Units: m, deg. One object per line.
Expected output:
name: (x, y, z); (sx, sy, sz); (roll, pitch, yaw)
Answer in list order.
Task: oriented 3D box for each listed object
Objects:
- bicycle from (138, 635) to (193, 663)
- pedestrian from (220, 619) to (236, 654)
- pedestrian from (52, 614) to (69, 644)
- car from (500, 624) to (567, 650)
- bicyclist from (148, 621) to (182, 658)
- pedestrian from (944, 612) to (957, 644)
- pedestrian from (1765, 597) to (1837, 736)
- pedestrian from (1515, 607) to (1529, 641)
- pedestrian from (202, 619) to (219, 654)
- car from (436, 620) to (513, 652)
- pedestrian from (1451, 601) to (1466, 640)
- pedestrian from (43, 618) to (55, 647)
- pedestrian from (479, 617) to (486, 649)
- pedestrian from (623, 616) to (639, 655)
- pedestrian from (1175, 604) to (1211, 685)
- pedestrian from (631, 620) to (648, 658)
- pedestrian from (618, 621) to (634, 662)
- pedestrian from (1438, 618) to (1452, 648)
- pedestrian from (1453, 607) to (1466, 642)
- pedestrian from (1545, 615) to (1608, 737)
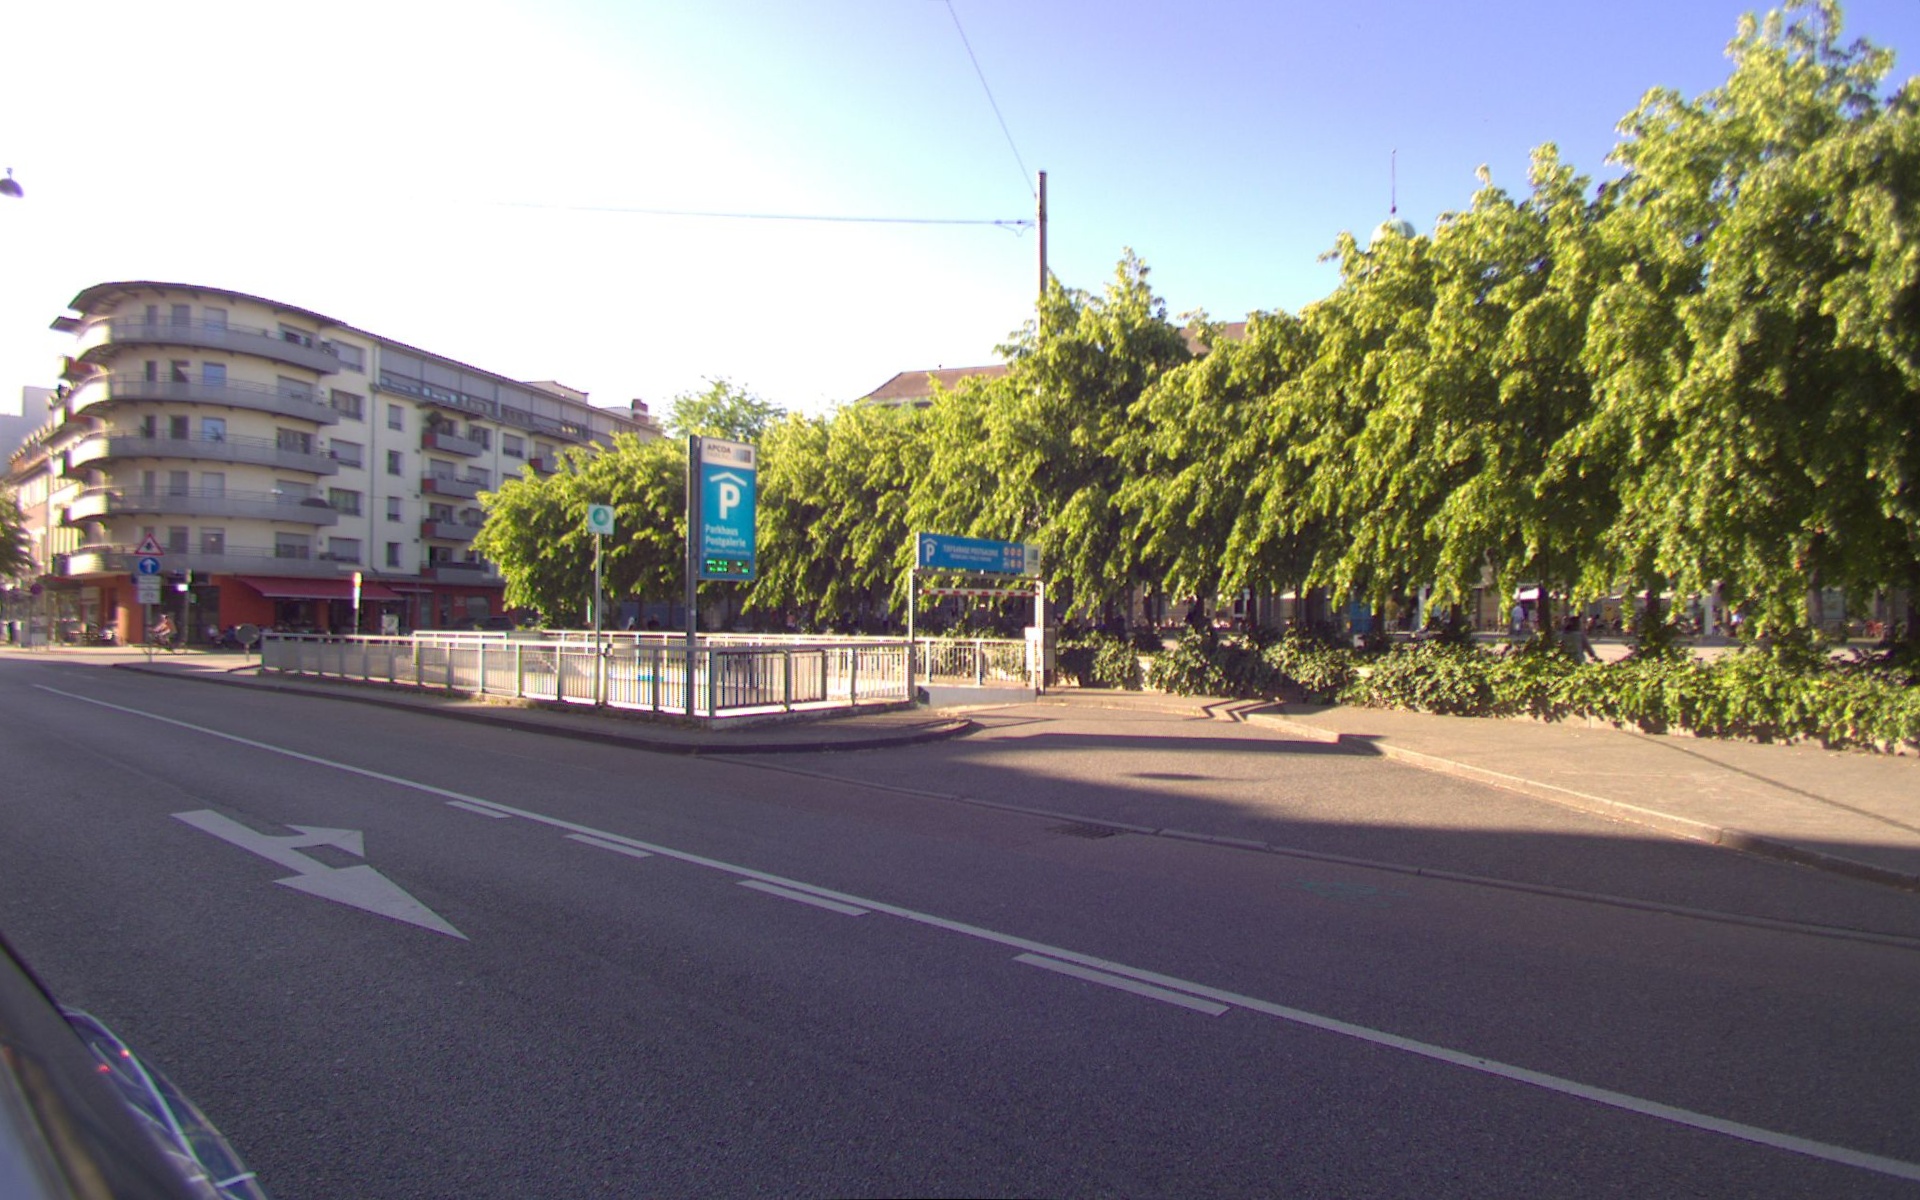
bicycle: (-35.970, 2.201, 45.845); (1.843, 1.221, 0.715); (0, 0, -10)
pedestrian: (-36.821, 1.819, 50.908); (0.642, 1.721, 0.568); (-2, -2, 43)
pedestrian: (-49.148, 1.575, 55.285); (0.792, 1.634, 0.563); (-1, -1, 37)
car: (-28.884, 2.488, 68.619); (1.938, 1.633, 4.272); (-1, -1, 16)
bicyclist: (-36.001, 1.789, 45.842); (0.960, 1.627, 0.715); (0, 0, -10)
pedestrian: (-0.534, 1.604, 57.609); (0.578, 1.806, 0.597); (-1, 0, 20)
pedestrian: (11.691, 0.902, 14.082); (0.597, 1.870, 0.578); (-1, 0, 22)
pedestrian: (29.796, 1.259, 53.690); (0.598, 1.806, 0.577); (-1, -1, 27)
pedestrian: (-37.490, 1.826, 50.624); (0.642, 1.721, 0.568); (-2, -2, 43)
car: (-30.346, 2.209, 63.399); (1.938, 1.927, 4.403); (-1, -1, 16)
pedestrian: (23.302, 0.958, 47.299); (0.599, 1.806, 0.576); (-1, -1, 31)
pedestrian: (-49.459, 1.758, 54.931); (0.515, 1.541, 0.371); (-1, -1, 37)
pedestrian: (-25.599, 1.760, 54.238); (0.318, 1.680, 0.362); (0, -1, -17)
pedestrian: (-15.226, 1.626, 46.818); (0.574, 1.806, 0.602); (0, 0, -5)
pedestrian: (5.475, 1.032, 23.771); (0.674, 1.870, 0.577); (-1, -1, 30)
pedestrian: (-15.223, 1.845, 48.057); (0.574, 1.806, 0.601); (-1, 0, 0)
pedestrian: (-15.123, 1.866, 45.860); (0.574, 1.806, 0.602); (0, 0, -5)
pedestrian: (30.038, 2.025, 62.664); (0.593, 1.806, 0.583); (-1, 0, 0)
pedestrian: (26.241, 1.298, 53.146); (0.580, 1.806, 0.596); (-1, -1, 27)
pedestrian: (9.771, 1.177, 16.036); (0.732, 1.870, 0.574); (-1, -1, 44)
